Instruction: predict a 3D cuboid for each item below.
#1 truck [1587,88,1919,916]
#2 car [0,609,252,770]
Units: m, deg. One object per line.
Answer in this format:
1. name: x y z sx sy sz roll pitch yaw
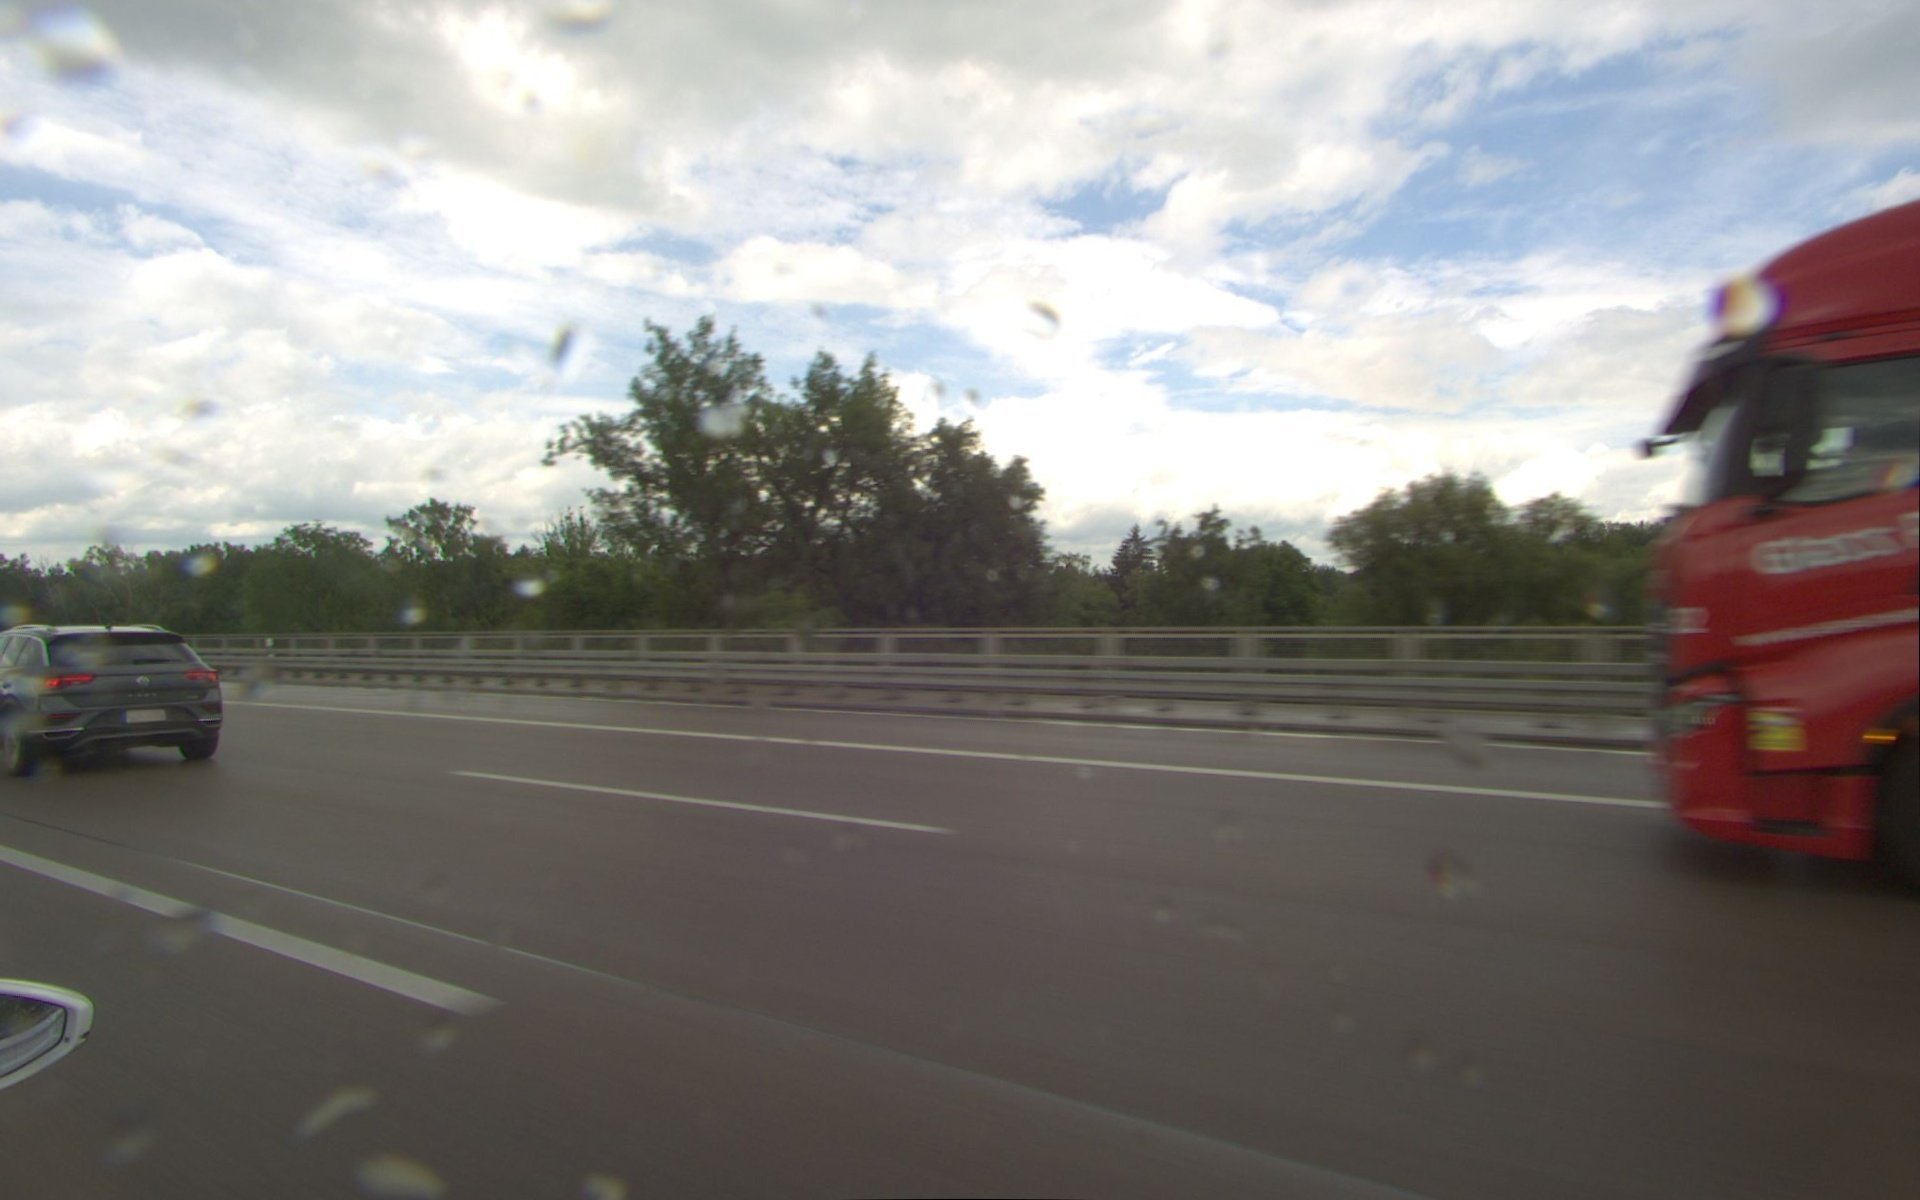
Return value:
1. truck: 10.950 -0.527 2.894 15.409 4.055 3.147 -1 -1 32
2. car: -10.073 0.940 11.586 3.668 1.582 1.789 -1 -2 32
